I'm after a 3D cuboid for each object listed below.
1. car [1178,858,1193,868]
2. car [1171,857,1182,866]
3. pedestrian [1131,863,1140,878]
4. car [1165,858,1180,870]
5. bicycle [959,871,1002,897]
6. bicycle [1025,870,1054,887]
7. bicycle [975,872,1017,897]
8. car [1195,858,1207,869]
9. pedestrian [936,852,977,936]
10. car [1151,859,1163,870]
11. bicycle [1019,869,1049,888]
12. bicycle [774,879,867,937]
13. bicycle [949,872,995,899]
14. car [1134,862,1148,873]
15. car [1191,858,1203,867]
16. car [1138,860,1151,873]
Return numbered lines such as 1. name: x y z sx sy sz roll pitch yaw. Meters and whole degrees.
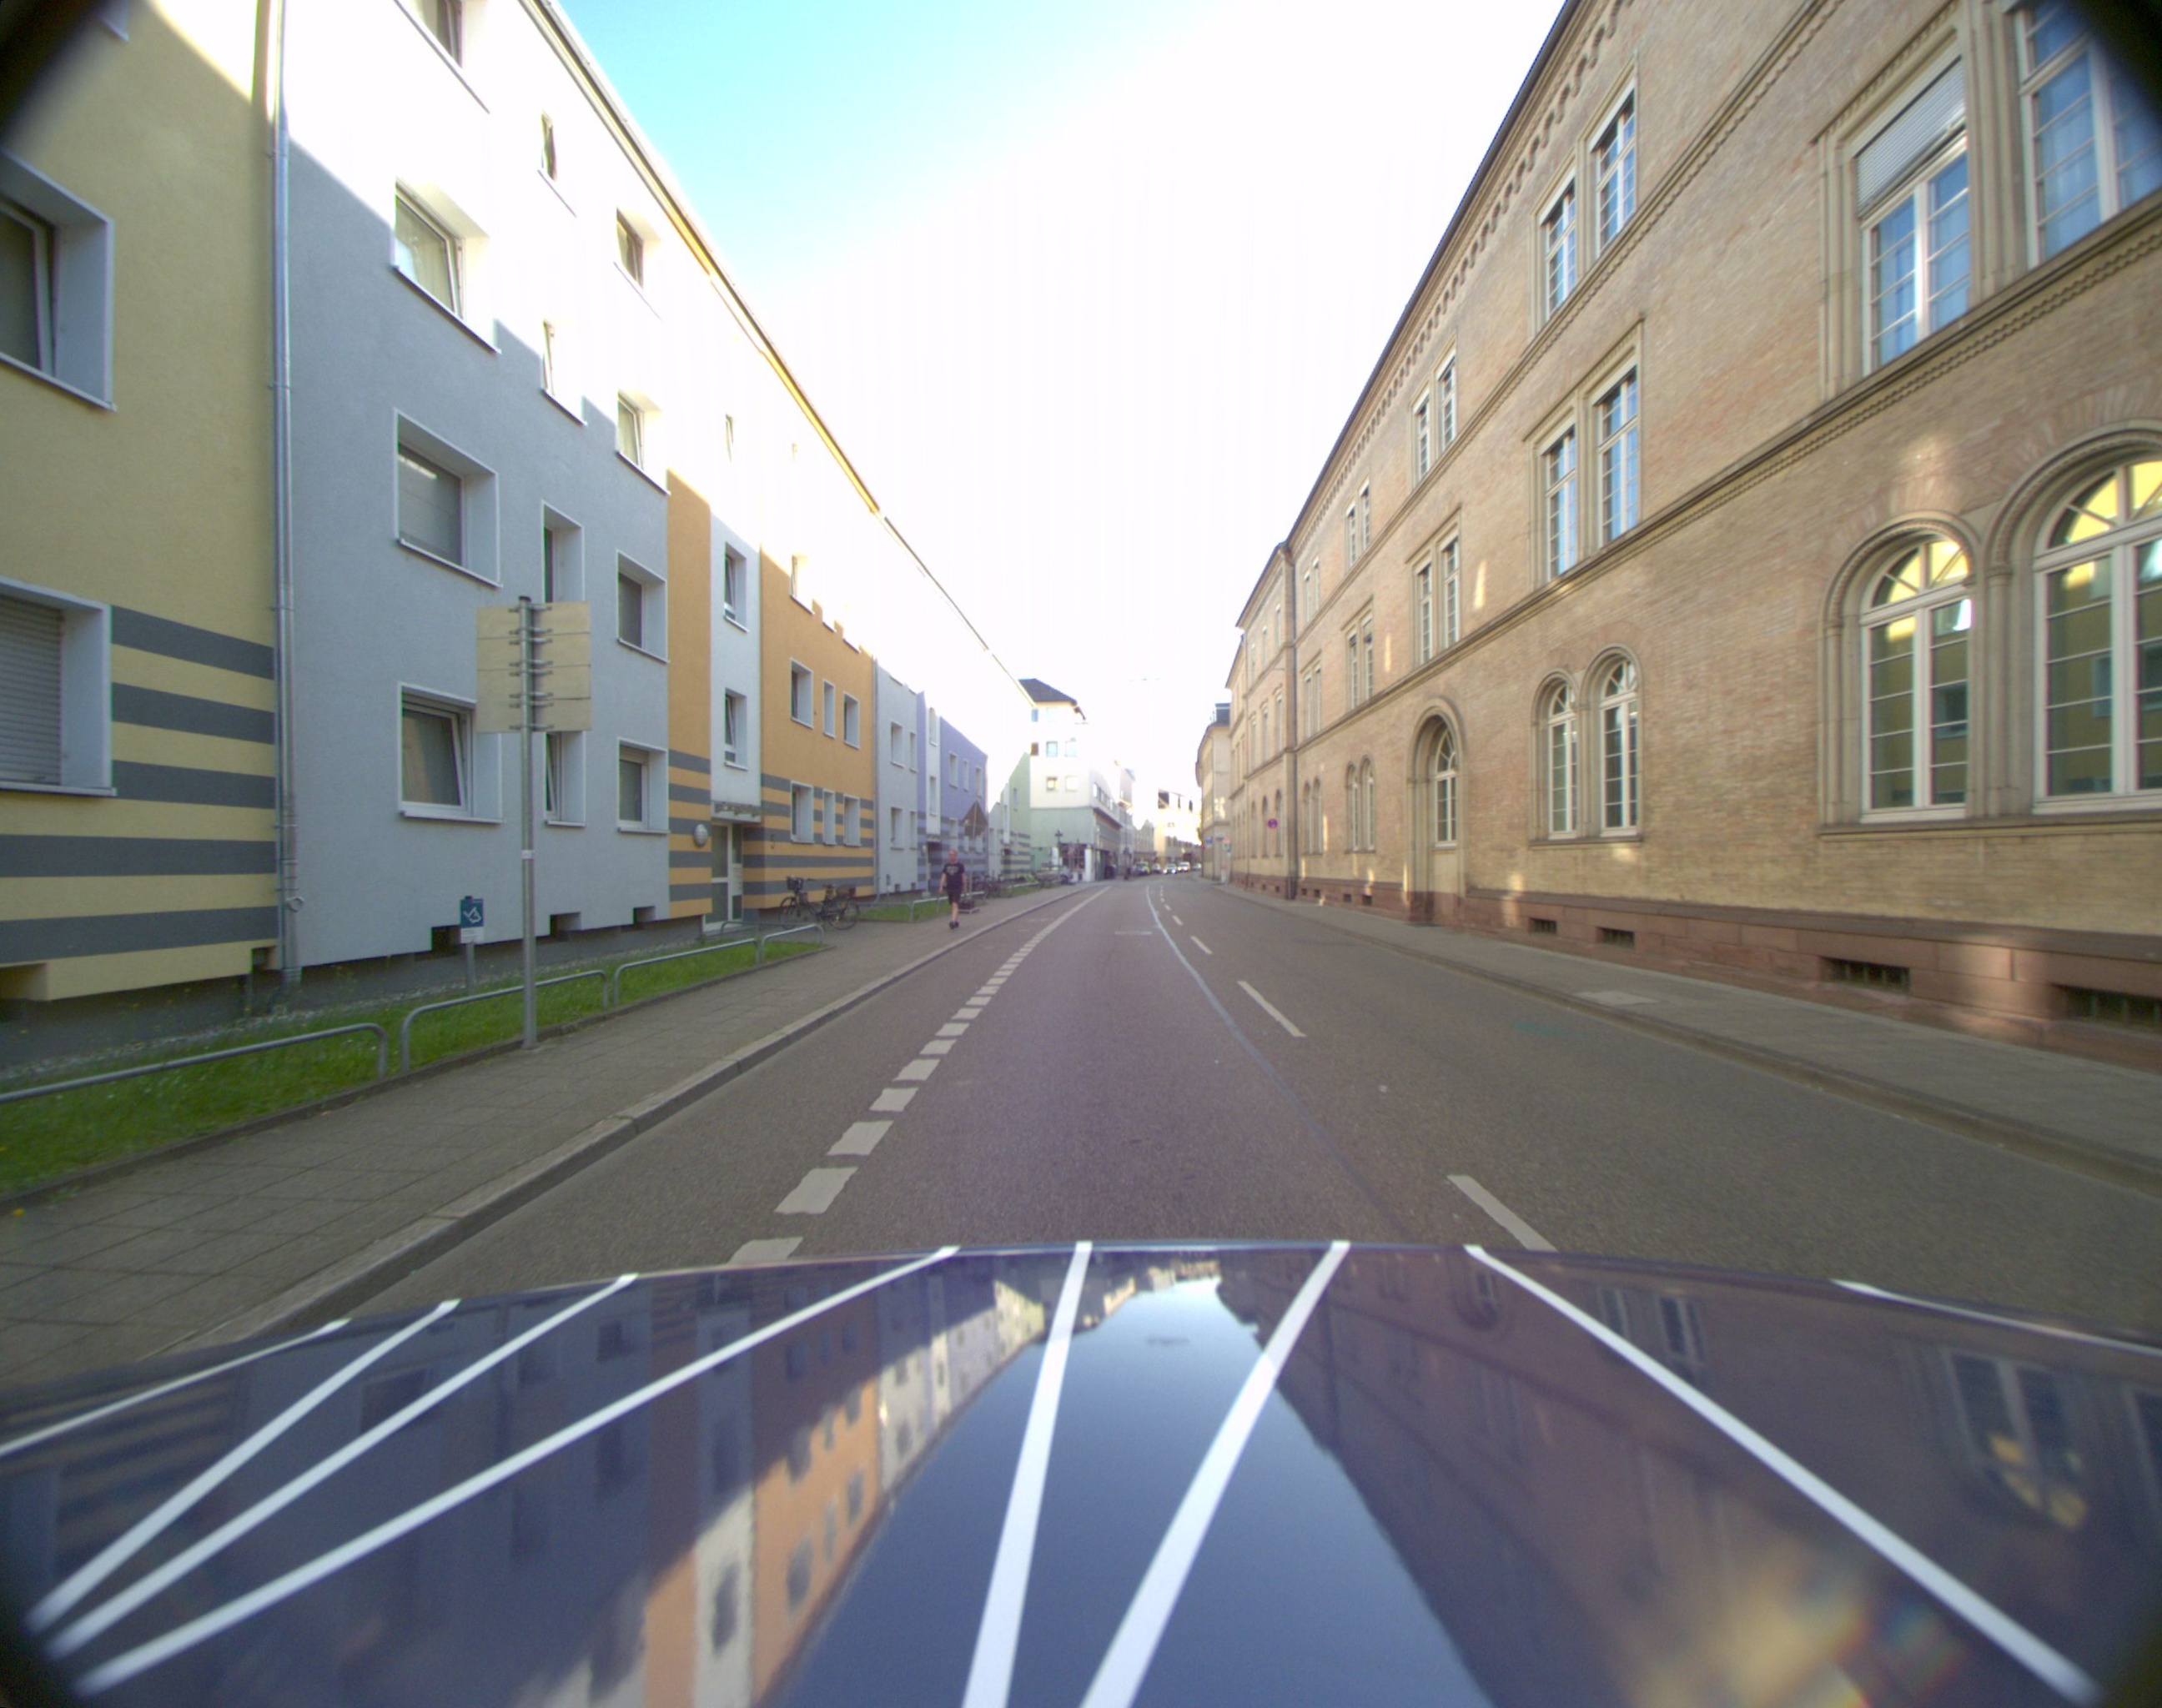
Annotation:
1. car: 18.692 1.545 135.479 1.920 1.712 4.967 -1 0 16
2. car: 18.617 1.533 147.860 1.534 1.714 3.744 -1 0 15
3. pedestrian: 5.419 1.623 75.795 0.662 1.509 0.707 -1 0 -16
4. car: 14.410 1.558 119.655 1.860 1.714 3.743 0 0 14
5. bicycle: -4.195 1.245 31.829 1.710 1.075 0.636 1 0 1
6. bicycle: -2.525 1.502 46.379 1.711 0.972 0.516 1 0 -2
7. bicycle: -3.641 1.299 32.552 1.711 1.029 0.636 1 0 -2
8. car: 18.883 1.546 119.404 1.663 1.714 3.743 0 0 14
9. pedestrian: -2.763 0.866 16.921 0.646 1.778 0.916 3 0 3
10. car: 12.159 1.722 120.987 1.534 1.714 3.743 -1 0 12
11. bicycle: -2.762 1.443 44.917 1.711 1.097 0.585 1 0 -2
12. bicycle: -5.420 1.117 15.883 1.711 1.152 0.636 1 0 -2
13. bicycle: -4.389 1.272 30.643 1.710 1.039 0.636 1 0 2
14. car: 7.896 1.743 99.649 1.634 1.405 3.687 -1 0 8
15. car: 24.825 1.802 162.372 1.925 1.714 4.236 0 0 18
16. car: 8.787 1.661 104.917 1.535 1.714 3.741 -1 0 8
